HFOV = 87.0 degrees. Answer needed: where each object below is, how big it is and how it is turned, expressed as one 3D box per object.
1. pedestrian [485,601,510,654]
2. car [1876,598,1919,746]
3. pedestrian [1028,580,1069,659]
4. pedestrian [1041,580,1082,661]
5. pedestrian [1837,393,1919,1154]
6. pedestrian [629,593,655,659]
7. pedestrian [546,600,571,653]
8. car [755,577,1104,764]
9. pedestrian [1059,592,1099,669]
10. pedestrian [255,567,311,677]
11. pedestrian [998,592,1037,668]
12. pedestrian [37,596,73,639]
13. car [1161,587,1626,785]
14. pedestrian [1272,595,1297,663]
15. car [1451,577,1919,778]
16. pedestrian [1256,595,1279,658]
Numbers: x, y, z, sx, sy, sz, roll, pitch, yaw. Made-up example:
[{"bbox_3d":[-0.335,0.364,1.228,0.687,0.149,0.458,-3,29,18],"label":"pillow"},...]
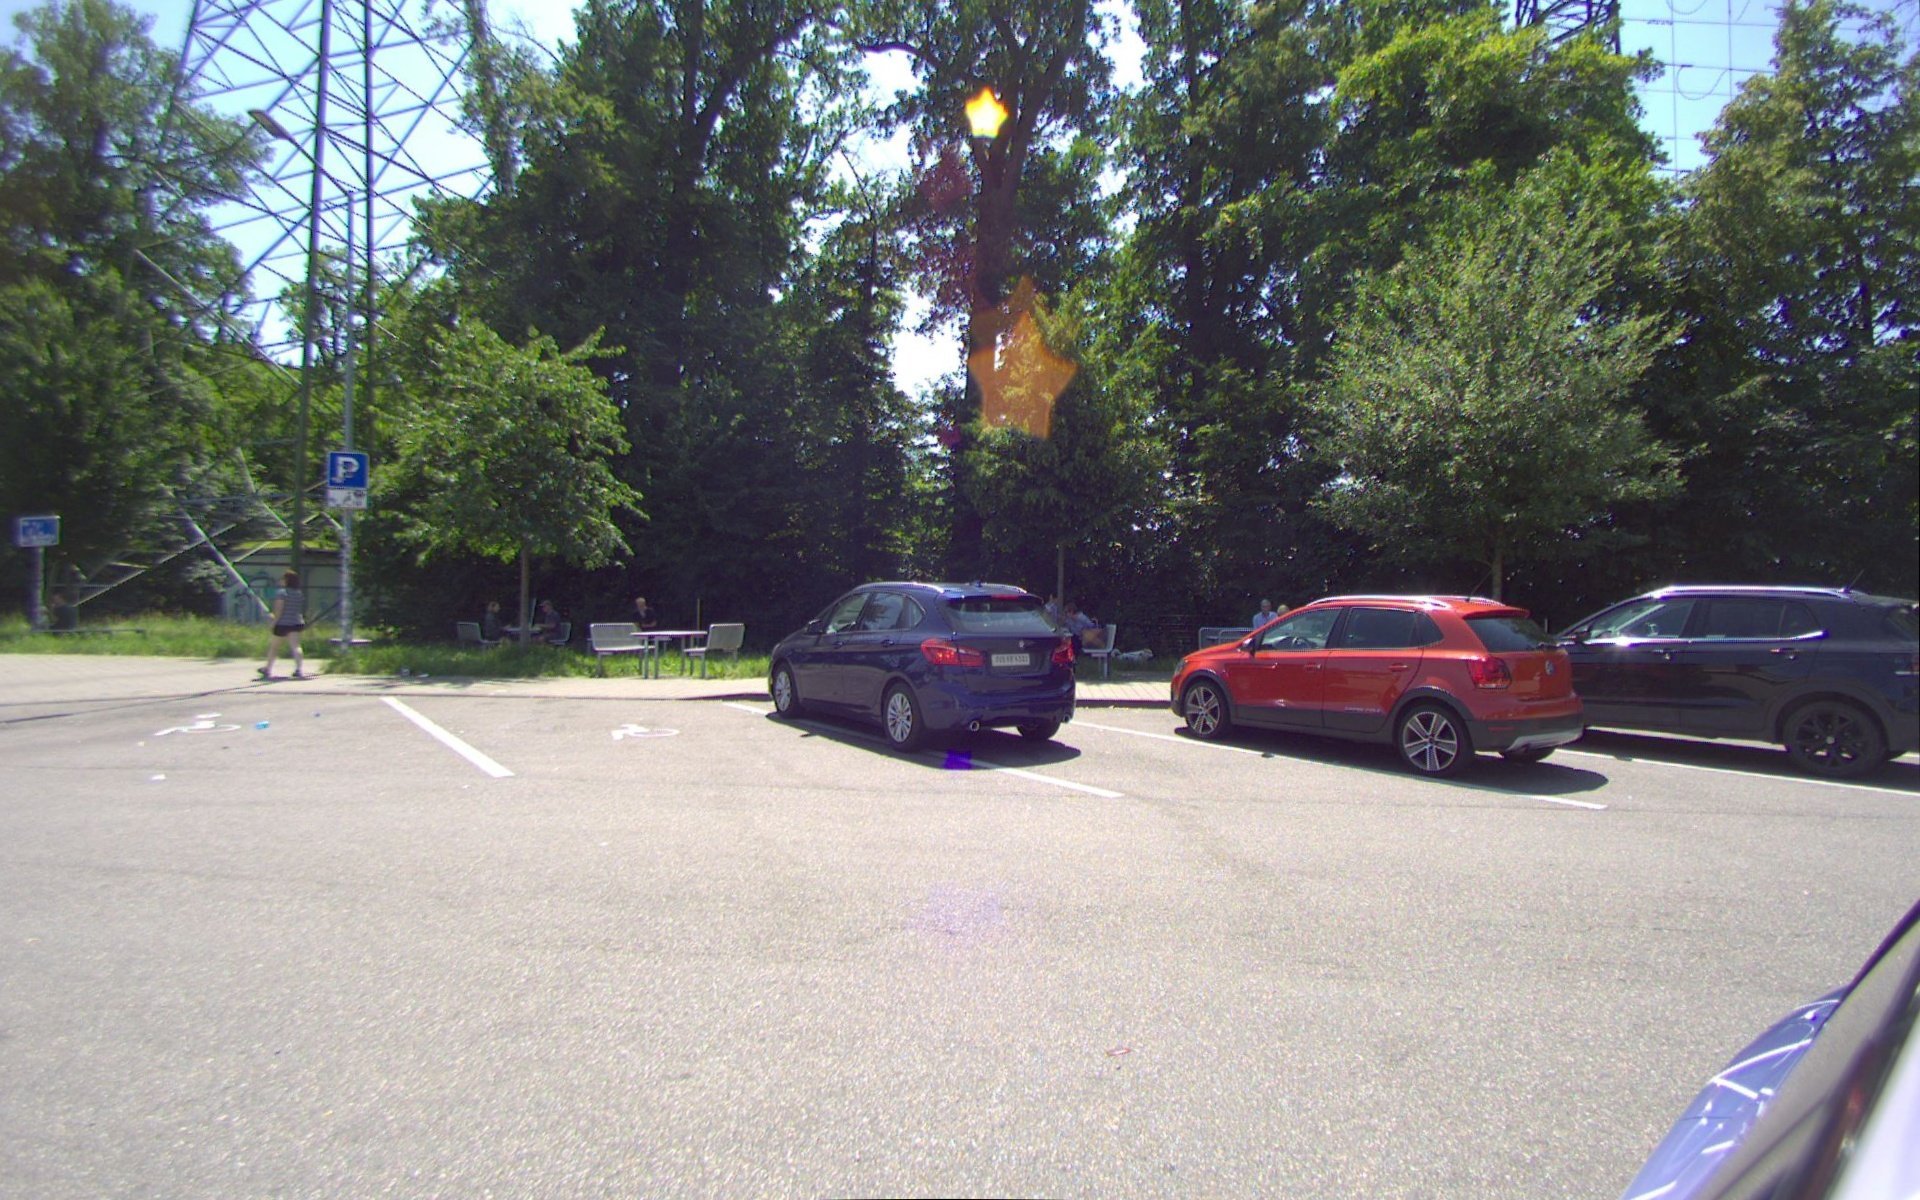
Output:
[{"bbox_3d":[-10.450,0.612,22.852,0.452,1.182,0.447,0,0,-34],"label":"pedestrian"},{"bbox_3d":[10.881,0.702,9.004,1.620,1.420,3.826,0,0,-37],"label":"car"},{"bbox_3d":[1.863,0.403,21.359,0.636,1.625,0.571,0,0,-41],"label":"pedestrian"},{"bbox_3d":[2.080,0.408,20.726,0.636,1.625,0.571,0,0,-41],"label":"pedestrian"},{"bbox_3d":[2.869,0.453,2.392,0.800,1.974,0.919,0,0,5],"label":"pedestrian"},{"bbox_3d":[-6.702,0.544,21.340,0.438,1.363,0.462,0,0,-5],"label":"pedestrian"},{"bbox_3d":[-9.361,0.613,23.593,0.452,1.209,0.447,0,0,-34],"label":"pedestrian"},{"bbox_3d":[-0.557,0.549,10.782,1.714,1.572,4.347,0,1,-33],"label":"car"},{"bbox_3d":[1.987,0.493,16.850,0.586,1.261,0.498,0,0,16],"label":"pedestrian"},{"bbox_3d":[-10.676,0.334,15.949,0.675,1.670,0.714,0,0,-39],"label":"pedestrian"},{"bbox_3d":[0.973,0.495,17.107,0.586,1.261,0.445,0,0,16],"label":"pedestrian"},{"bbox_3d":[-20.968,0.394,23.452,0.452,0.987,0.447,0,0,-2],"label":"pedestrian"},{"bbox_3d":[3.864,0.633,9.643,1.619,1.487,3.830,0,0,-33],"label":"car"},{"bbox_3d":[5.755,0.504,17.944,0.350,1.180,0.384,0,0,8],"label":"pedestrian"},{"bbox_3d":[7.080,0.591,9.859,1.620,1.575,3.826,0,0,-37],"label":"car"},{"bbox_3d":[5.803,0.492,19.120,0.350,1.180,0.384,0,0,8],"label":"pedestrian"}]
